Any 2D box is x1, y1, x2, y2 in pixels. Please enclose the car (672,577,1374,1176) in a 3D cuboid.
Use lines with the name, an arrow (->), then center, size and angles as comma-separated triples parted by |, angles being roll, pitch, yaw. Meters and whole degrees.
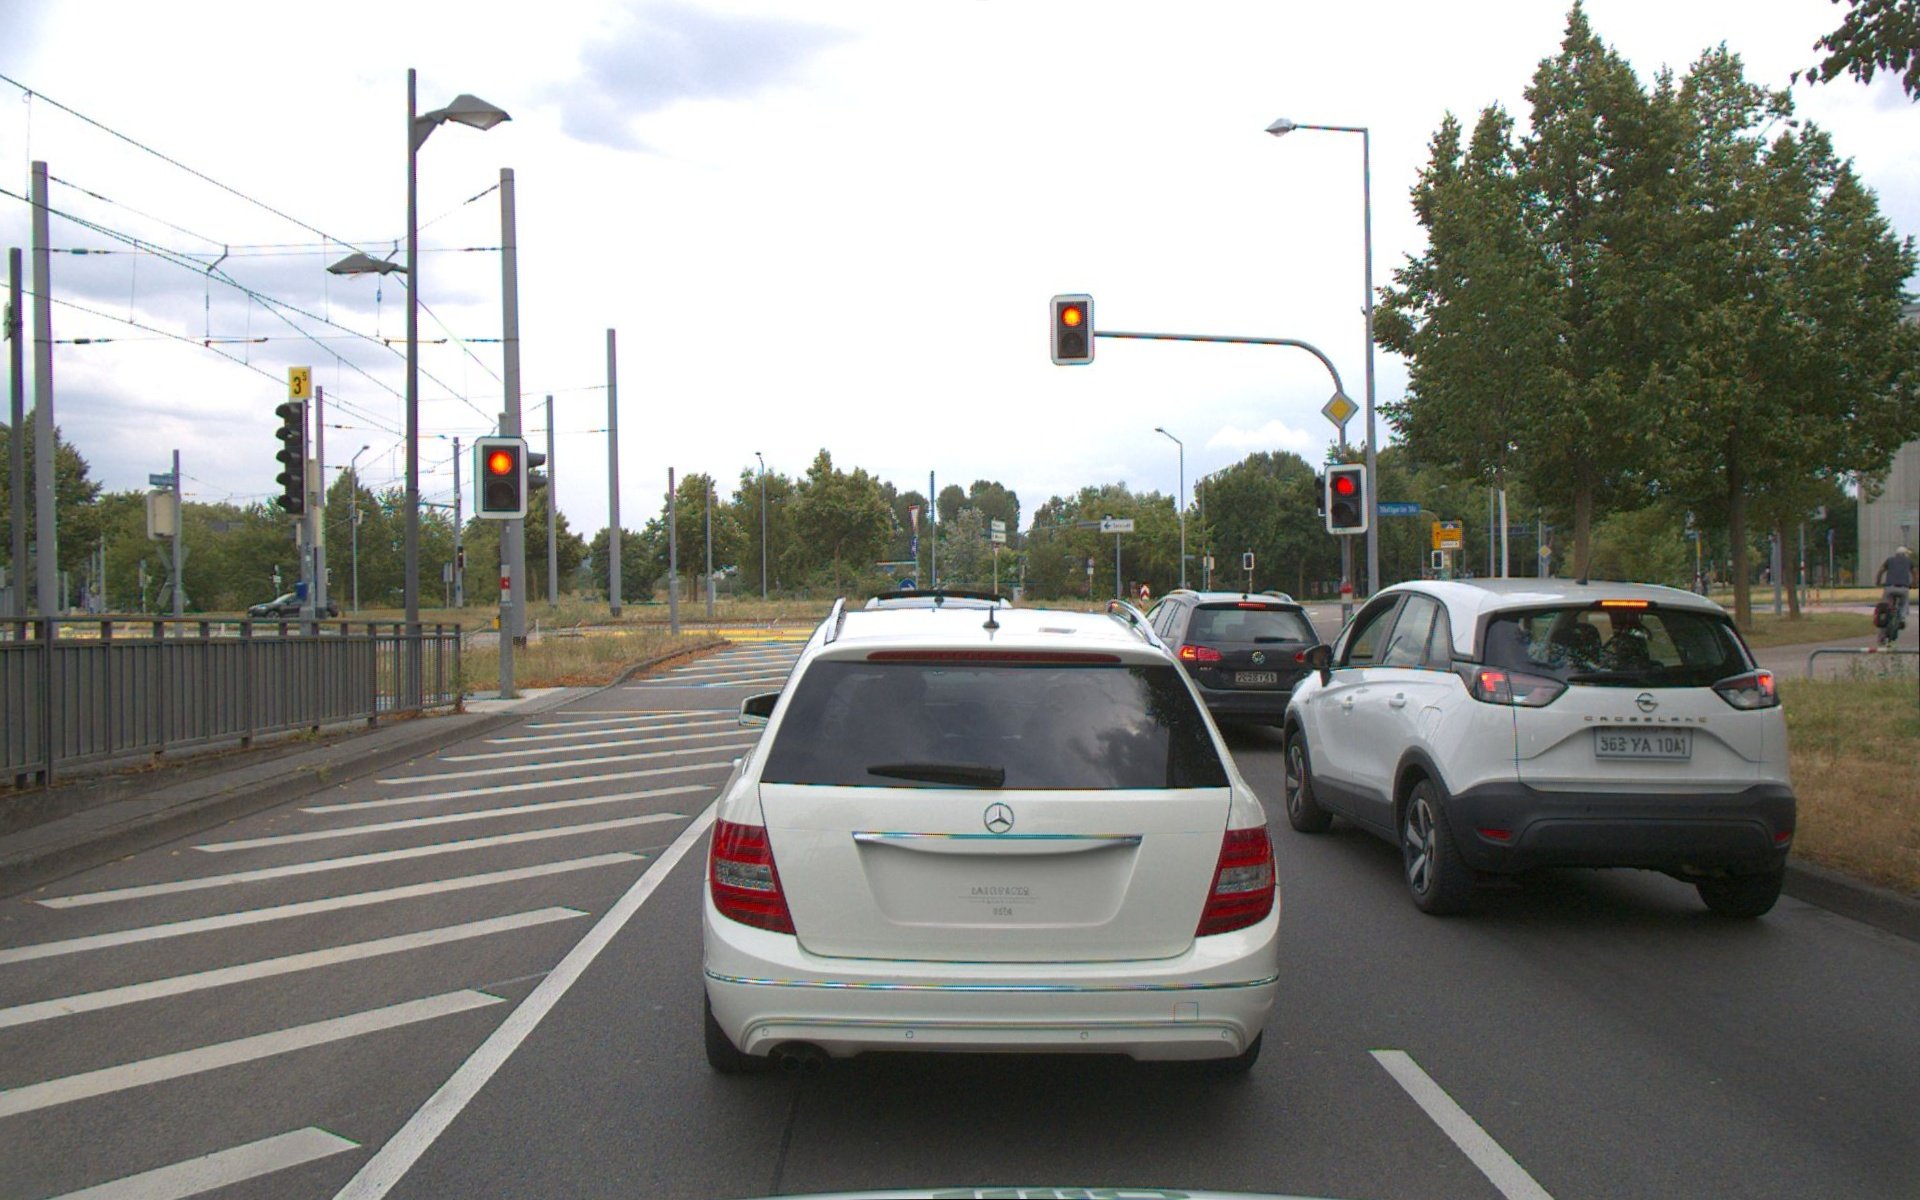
car -> 0.076, 0.672, 6.068 | 1.738, 1.474, 3.908 | 1, 0, -3

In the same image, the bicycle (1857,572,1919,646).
bicycle -> 16.720, 0.142, 29.493 | 0.887, 1.256, 2.257 | 0, 1, 38

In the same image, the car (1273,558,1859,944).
car -> 3.009, 0.636, 9.144 | 1.751, 1.653, 3.910 | -1, 1, -1

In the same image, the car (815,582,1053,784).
car -> -0.276, 0.597, 14.135 | 1.738, 1.474, 3.908 | 1, 0, -3

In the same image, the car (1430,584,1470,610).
car -> 35.478, -0.216, 119.665 | 1.956, 1.822, 3.994 | 1, 0, 28

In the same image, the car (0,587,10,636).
car -> -40.741, 0.512, 66.389 | 1.951, 2.049, 5.003 | -1, 1, 5

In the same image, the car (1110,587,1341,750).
car -> 2.625, 0.619, 17.173 | 1.592, 1.474, 3.908 | 1, 0, -3

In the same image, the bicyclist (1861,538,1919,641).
bicyclist -> 16.787, -0.197, 29.540 | 0.980, 1.767, 1.124 | -3, 1, 38
